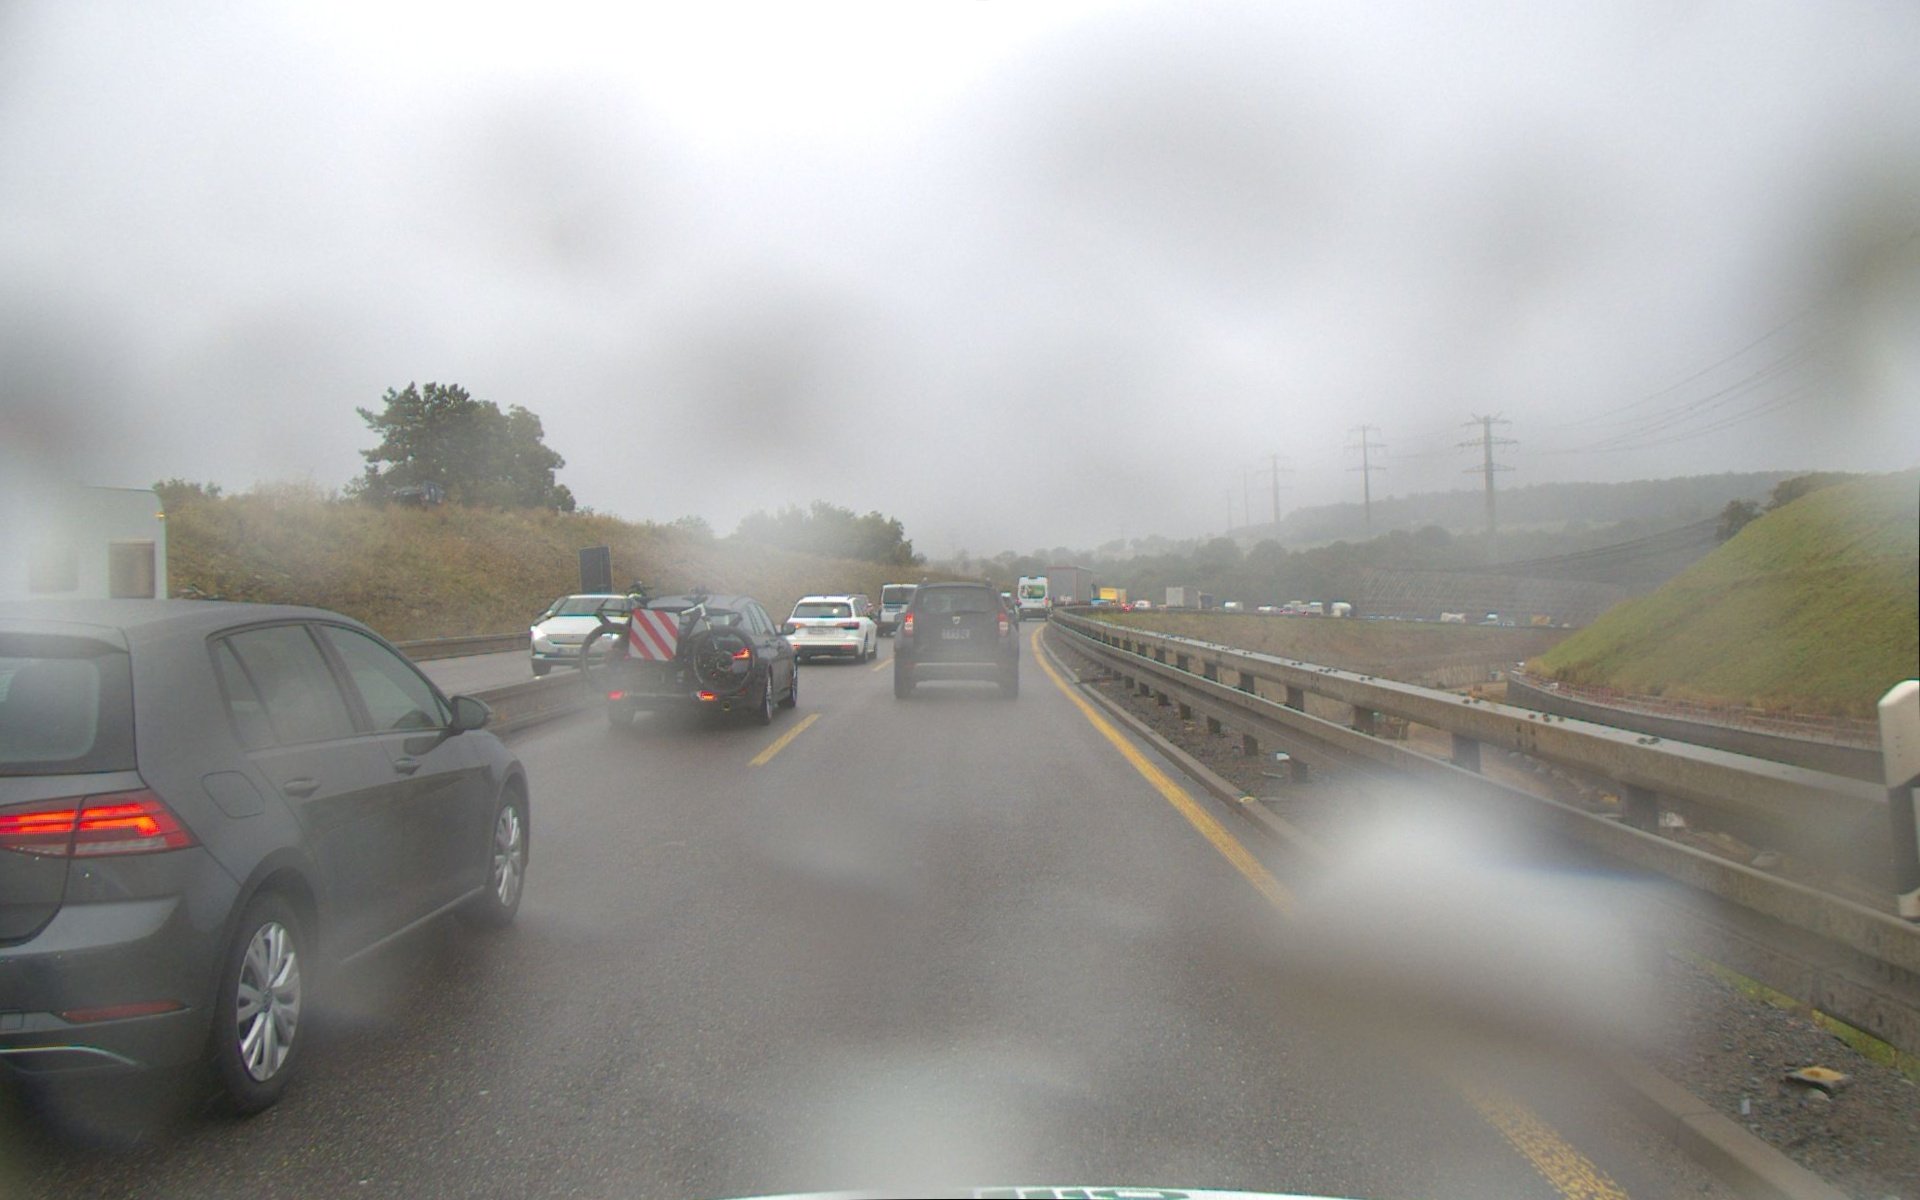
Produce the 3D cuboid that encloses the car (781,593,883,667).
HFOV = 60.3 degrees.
[{"bbox_3d":[-2.745,0.613,36.359,1.829,1.486,4.549,1,0,0],"label":"car"}]

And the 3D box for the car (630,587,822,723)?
[{"bbox_3d":[-2.739,0.613,20.103,1.791,1.502,3.776,0,0,0],"label":"car"}]

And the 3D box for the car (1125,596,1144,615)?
[{"bbox_3d":[18.770,0.564,177.891,1.737,1.949,4.003,1,0,9],"label":"car"}]

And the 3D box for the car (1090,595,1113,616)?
[{"bbox_3d":[13.423,0.488,156.787,1.737,1.949,4.003,1,0,9],"label":"car"}]

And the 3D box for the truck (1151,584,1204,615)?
[{"bbox_3d":[31.391,-0.041,237.788,4.619,4.222,15.688,1,0,18],"label":"truck"}]

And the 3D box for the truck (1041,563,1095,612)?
[{"bbox_3d":[8.913,-1.007,135.571,3.132,3.827,8.516,1,0,12],"label":"truck"}]

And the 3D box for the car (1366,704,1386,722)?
[{"bbox_3d":[49.807,13.497,198.099,1.951,1.847,4.003,0,0,8],"label":"car"}]

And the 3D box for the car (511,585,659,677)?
[{"bbox_3d":[-7.060,0.527,31.547,1.839,1.526,4.335,1,2,0],"label":"car"}]

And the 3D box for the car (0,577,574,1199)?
[{"bbox_3d":[-2.673,0.739,5.789,1.581,1.532,4.368,-2,0,0],"label":"car"}]

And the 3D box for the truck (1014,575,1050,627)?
[{"bbox_3d":[4.672,0.060,108.242,2.105,3.221,6.460,1,0,1],"label":"truck"}]

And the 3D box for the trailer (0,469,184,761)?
[{"bbox_3d":[-9.811,0.117,14.717,2.459,2.609,7.162,1,0,0],"label":"trailer"}]

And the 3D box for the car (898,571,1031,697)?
[{"bbox_3d":[0.098,0.465,23.913,1.767,1.674,3.777,0,0,1],"label":"car"}]

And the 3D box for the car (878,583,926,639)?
[{"bbox_3d":[-2.064,0.376,59.495,1.626,1.913,4.019,1,0,-1],"label":"car"}]

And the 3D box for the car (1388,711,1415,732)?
[{"bbox_3d":[48.402,13.309,181.385,2.315,2.049,4.003,1,0,6],"label":"car"}]

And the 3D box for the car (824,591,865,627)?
[{"bbox_3d":[-5.274,0.419,75.663,1.692,1.605,3.720,0,0,-2],"label":"car"}]

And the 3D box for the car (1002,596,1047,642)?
[{"bbox_3d":[2.400,0.693,62.360,1.499,1.669,4.012,1,0,0],"label":"car"}]

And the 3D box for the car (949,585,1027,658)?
[{"bbox_3d":[0.673,0.516,41.683,1.829,1.738,4.000,1,0,0],"label":"car"}]
